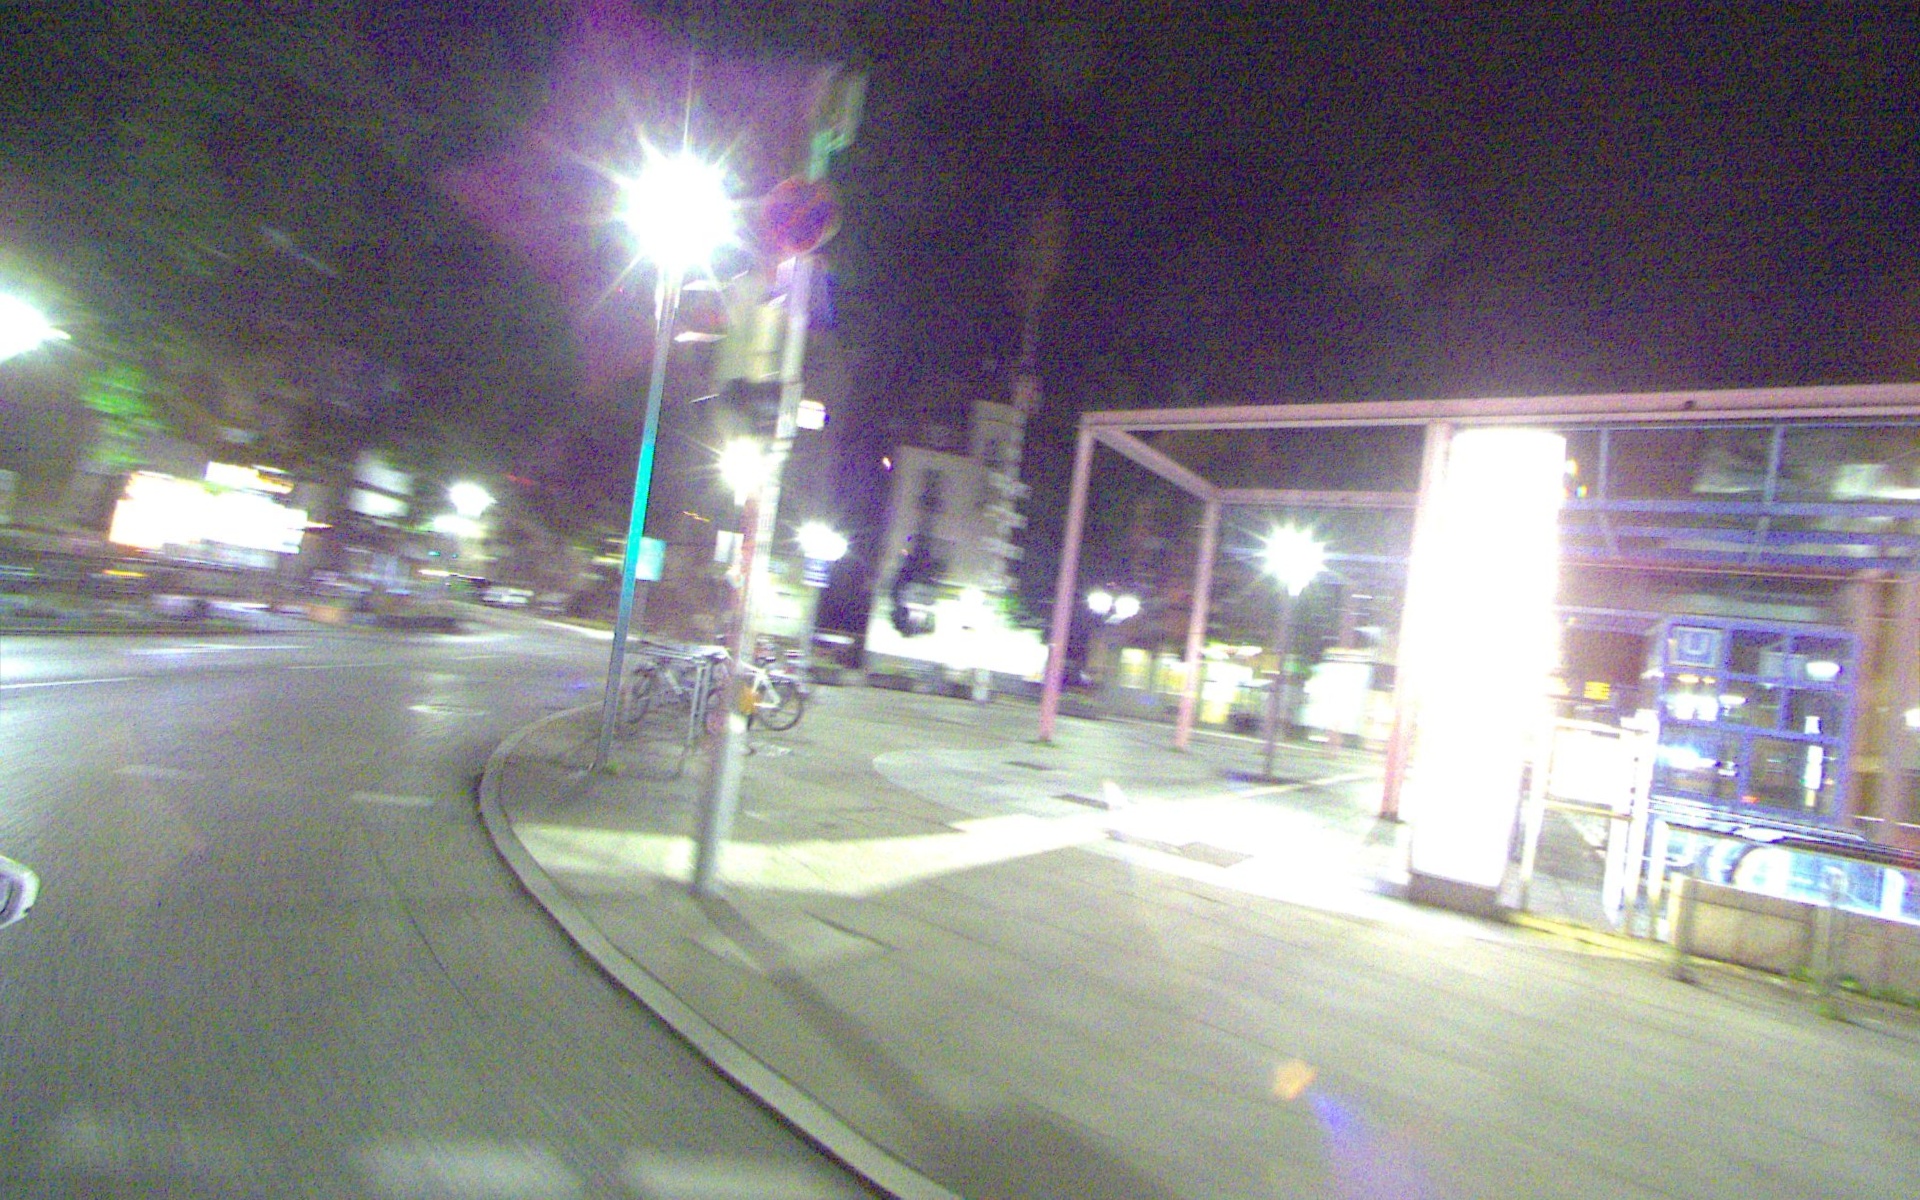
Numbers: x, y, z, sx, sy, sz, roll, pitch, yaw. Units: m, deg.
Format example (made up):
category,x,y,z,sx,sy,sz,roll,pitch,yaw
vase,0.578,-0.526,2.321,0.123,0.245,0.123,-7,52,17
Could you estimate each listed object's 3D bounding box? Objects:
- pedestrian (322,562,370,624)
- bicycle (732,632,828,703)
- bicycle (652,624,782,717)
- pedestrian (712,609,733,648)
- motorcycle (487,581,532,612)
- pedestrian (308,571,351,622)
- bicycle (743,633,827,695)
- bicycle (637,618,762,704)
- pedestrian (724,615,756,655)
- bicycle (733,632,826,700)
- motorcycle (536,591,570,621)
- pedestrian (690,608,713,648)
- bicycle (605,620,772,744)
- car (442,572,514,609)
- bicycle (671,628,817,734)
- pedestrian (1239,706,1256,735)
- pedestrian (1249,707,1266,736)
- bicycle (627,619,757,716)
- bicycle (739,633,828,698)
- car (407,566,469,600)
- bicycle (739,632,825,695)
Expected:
category,x,y,z,sx,sy,sz,roll,pitch,yaw
pedestrian,-15.006,-0.159,24.587,0.667,1.393,0.575,9,-2,-13
bicycle,-3.693,1.384,20.713,1.747,1.164,0.582,9,-2,-5
bicycle,-3.709,1.071,15.456,1.765,1.147,0.628,9,-2,-11
pedestrian,-11.315,1.355,47.994,0.562,1.728,0.477,7,-2,38
motorcycle,-25.180,-0.200,56.272,0.908,1.422,2.058,8,-1,28
pedestrian,-15.752,-0.086,25.151,0.567,1.177,0.677,9,-2,-13
bicycle,-4.095,1.497,23.599,1.759,1.164,0.759,9,-2,-11
bicycle,-4.322,1.020,16.833,1.841,1.147,0.724,9,-2,-11
pedestrian,-9.972,1.580,45.655,0.948,1.648,0.811,8,-2,11
bicycle,-3.812,1.404,21.352,1.747,1.164,0.582,9,-2,-5
motorcycle,-21.312,0.315,52.759,0.749,1.368,1.946,8,-2,2
pedestrian,-12.000,1.286,46.675,0.694,1.728,0.507,7,-2,38
bicycle,-3.093,0.935,11.632,1.633,1.153,0.827,9,-2,-10
car,-27.626,-0.576,57.606,4.398,1.517,1.734,7,-3,36
bicycle,-2.904,1.090,13.680,1.746,1.153,0.686,9,-2,-10
pedestrian,13.796,5.770,48.231,0.458,1.313,0.515,9,-2,-6
pedestrian,14.260,5.840,48.277,0.458,1.313,0.515,9,-2,-6
bicycle,-3.873,0.979,14.673,1.633,1.147,0.642,9,-2,-10
bicycle,-3.868,1.431,22.052,1.749,1.164,0.581,9,-2,-11
car,-31.515,-1.042,60.714,3.942,1.470,1.737,7,-3,40
bicycle,-4.030,1.439,22.796,1.749,1.164,0.613,9,-2,-11
